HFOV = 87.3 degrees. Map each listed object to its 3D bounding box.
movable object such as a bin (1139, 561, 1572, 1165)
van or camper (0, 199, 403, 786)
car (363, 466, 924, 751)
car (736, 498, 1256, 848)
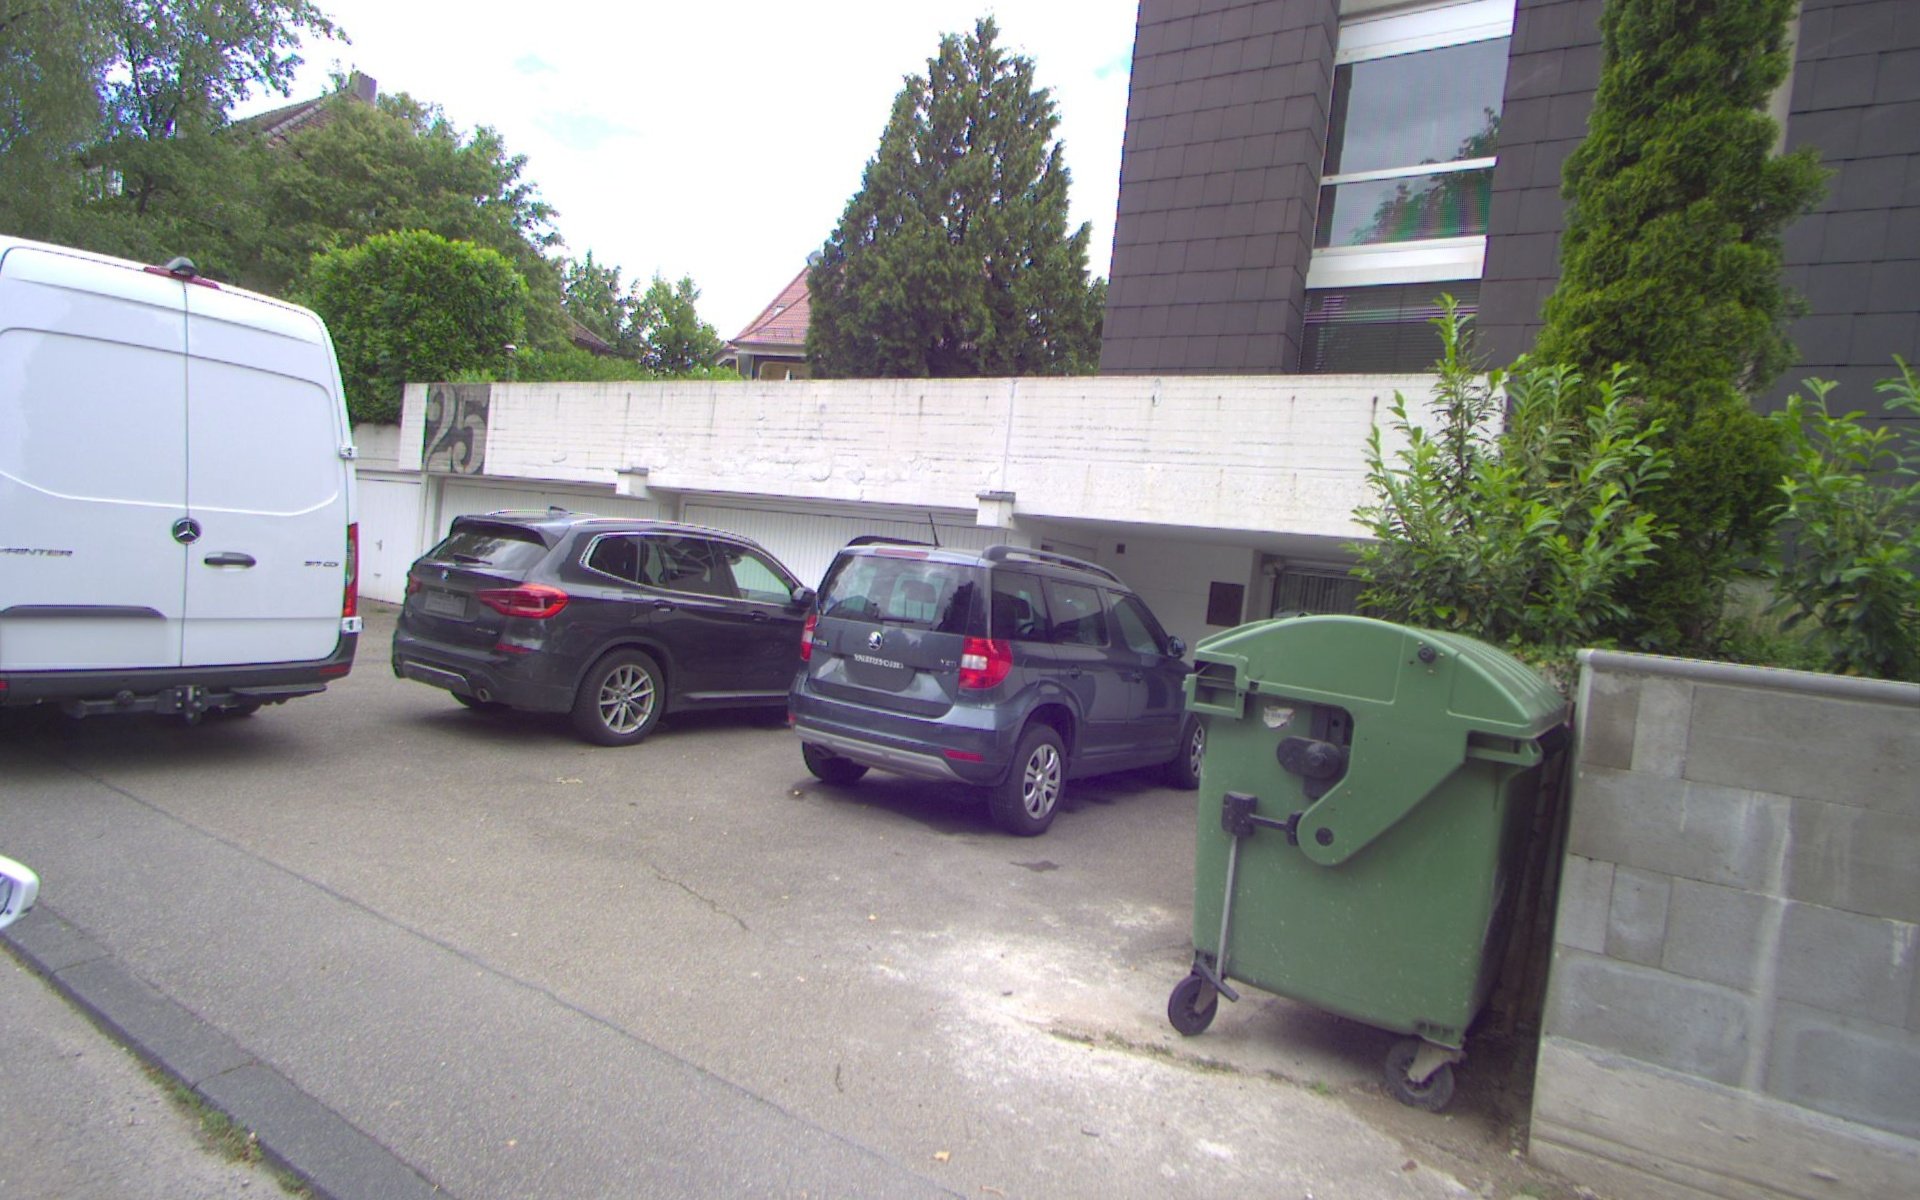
[{"bbox_3d":[1.360,0.726,3.392,1.016,1.550,1.034,7,2,33],"label":"movable object such as a bin"},{"bbox_3d":[-6.698,-0.736,6.901,6.432,2.653,1.995,7,1,32],"label":"van or camper"},{"bbox_3d":[-2.354,0.121,8.678,1.710,1.772,4.419,7,1,33],"label":"car"},{"bbox_3d":[0.541,0.451,7.397,1.804,1.772,3.973,7,1,35],"label":"car"}]
